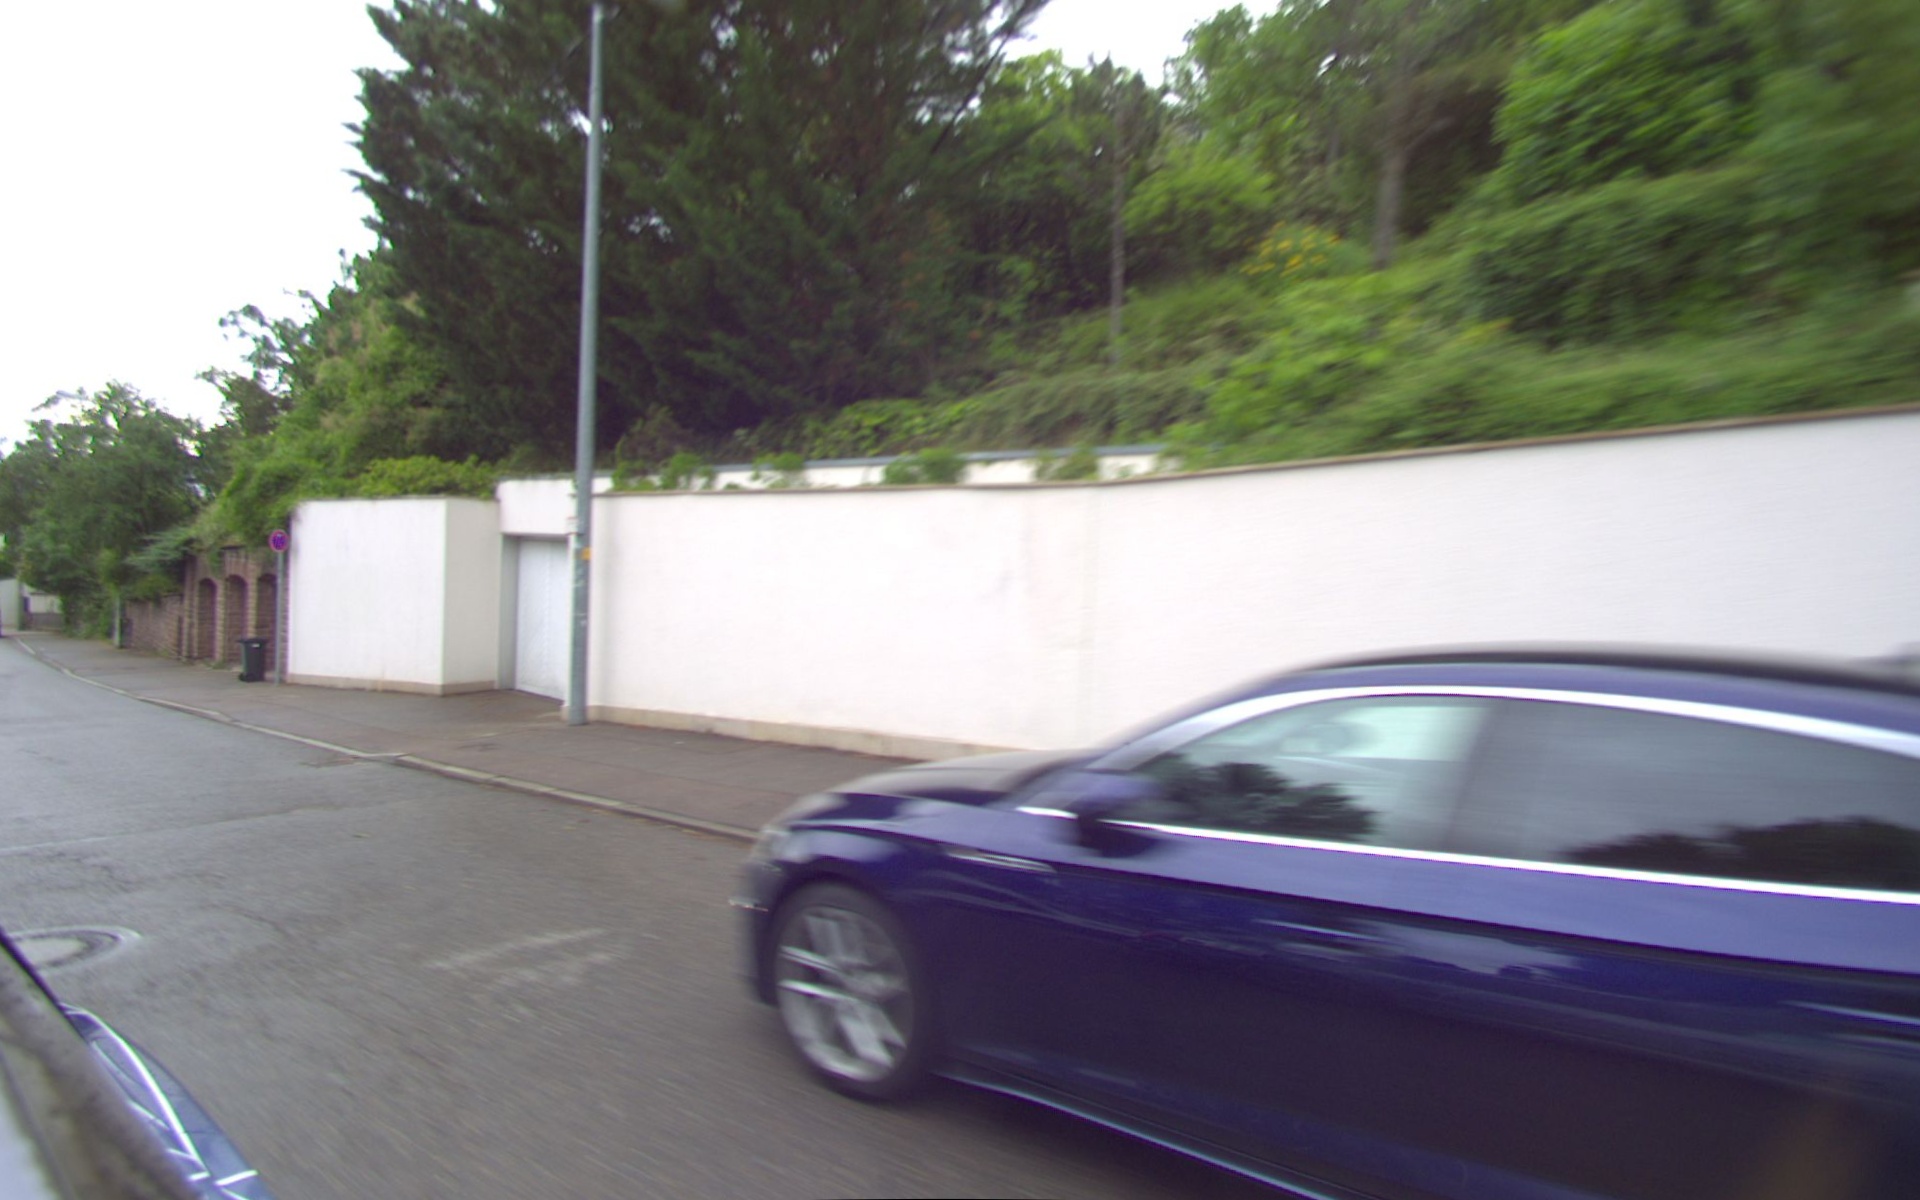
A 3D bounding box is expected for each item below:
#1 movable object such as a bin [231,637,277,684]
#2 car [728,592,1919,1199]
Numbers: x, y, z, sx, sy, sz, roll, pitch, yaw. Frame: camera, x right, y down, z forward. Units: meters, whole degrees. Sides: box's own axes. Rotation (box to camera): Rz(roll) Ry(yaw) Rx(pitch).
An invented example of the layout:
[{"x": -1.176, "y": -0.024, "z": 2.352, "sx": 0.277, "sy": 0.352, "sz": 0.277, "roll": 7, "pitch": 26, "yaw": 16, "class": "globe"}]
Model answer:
[{"x": -14.842, "y": 1.256, "z": 21.282, "sx": 0.677, "sy": 0.926, "sz": 0.651, "roll": -1, "pitch": 1, "yaw": 44, "class": "movable object such as a bin"}, {"x": 1.480, "y": 0.696, "z": 2.559, "sx": 4.421, "sy": 1.368, "sz": 1.731, "roll": -1, "pitch": -2, "yaw": 40, "class": "car"}]
